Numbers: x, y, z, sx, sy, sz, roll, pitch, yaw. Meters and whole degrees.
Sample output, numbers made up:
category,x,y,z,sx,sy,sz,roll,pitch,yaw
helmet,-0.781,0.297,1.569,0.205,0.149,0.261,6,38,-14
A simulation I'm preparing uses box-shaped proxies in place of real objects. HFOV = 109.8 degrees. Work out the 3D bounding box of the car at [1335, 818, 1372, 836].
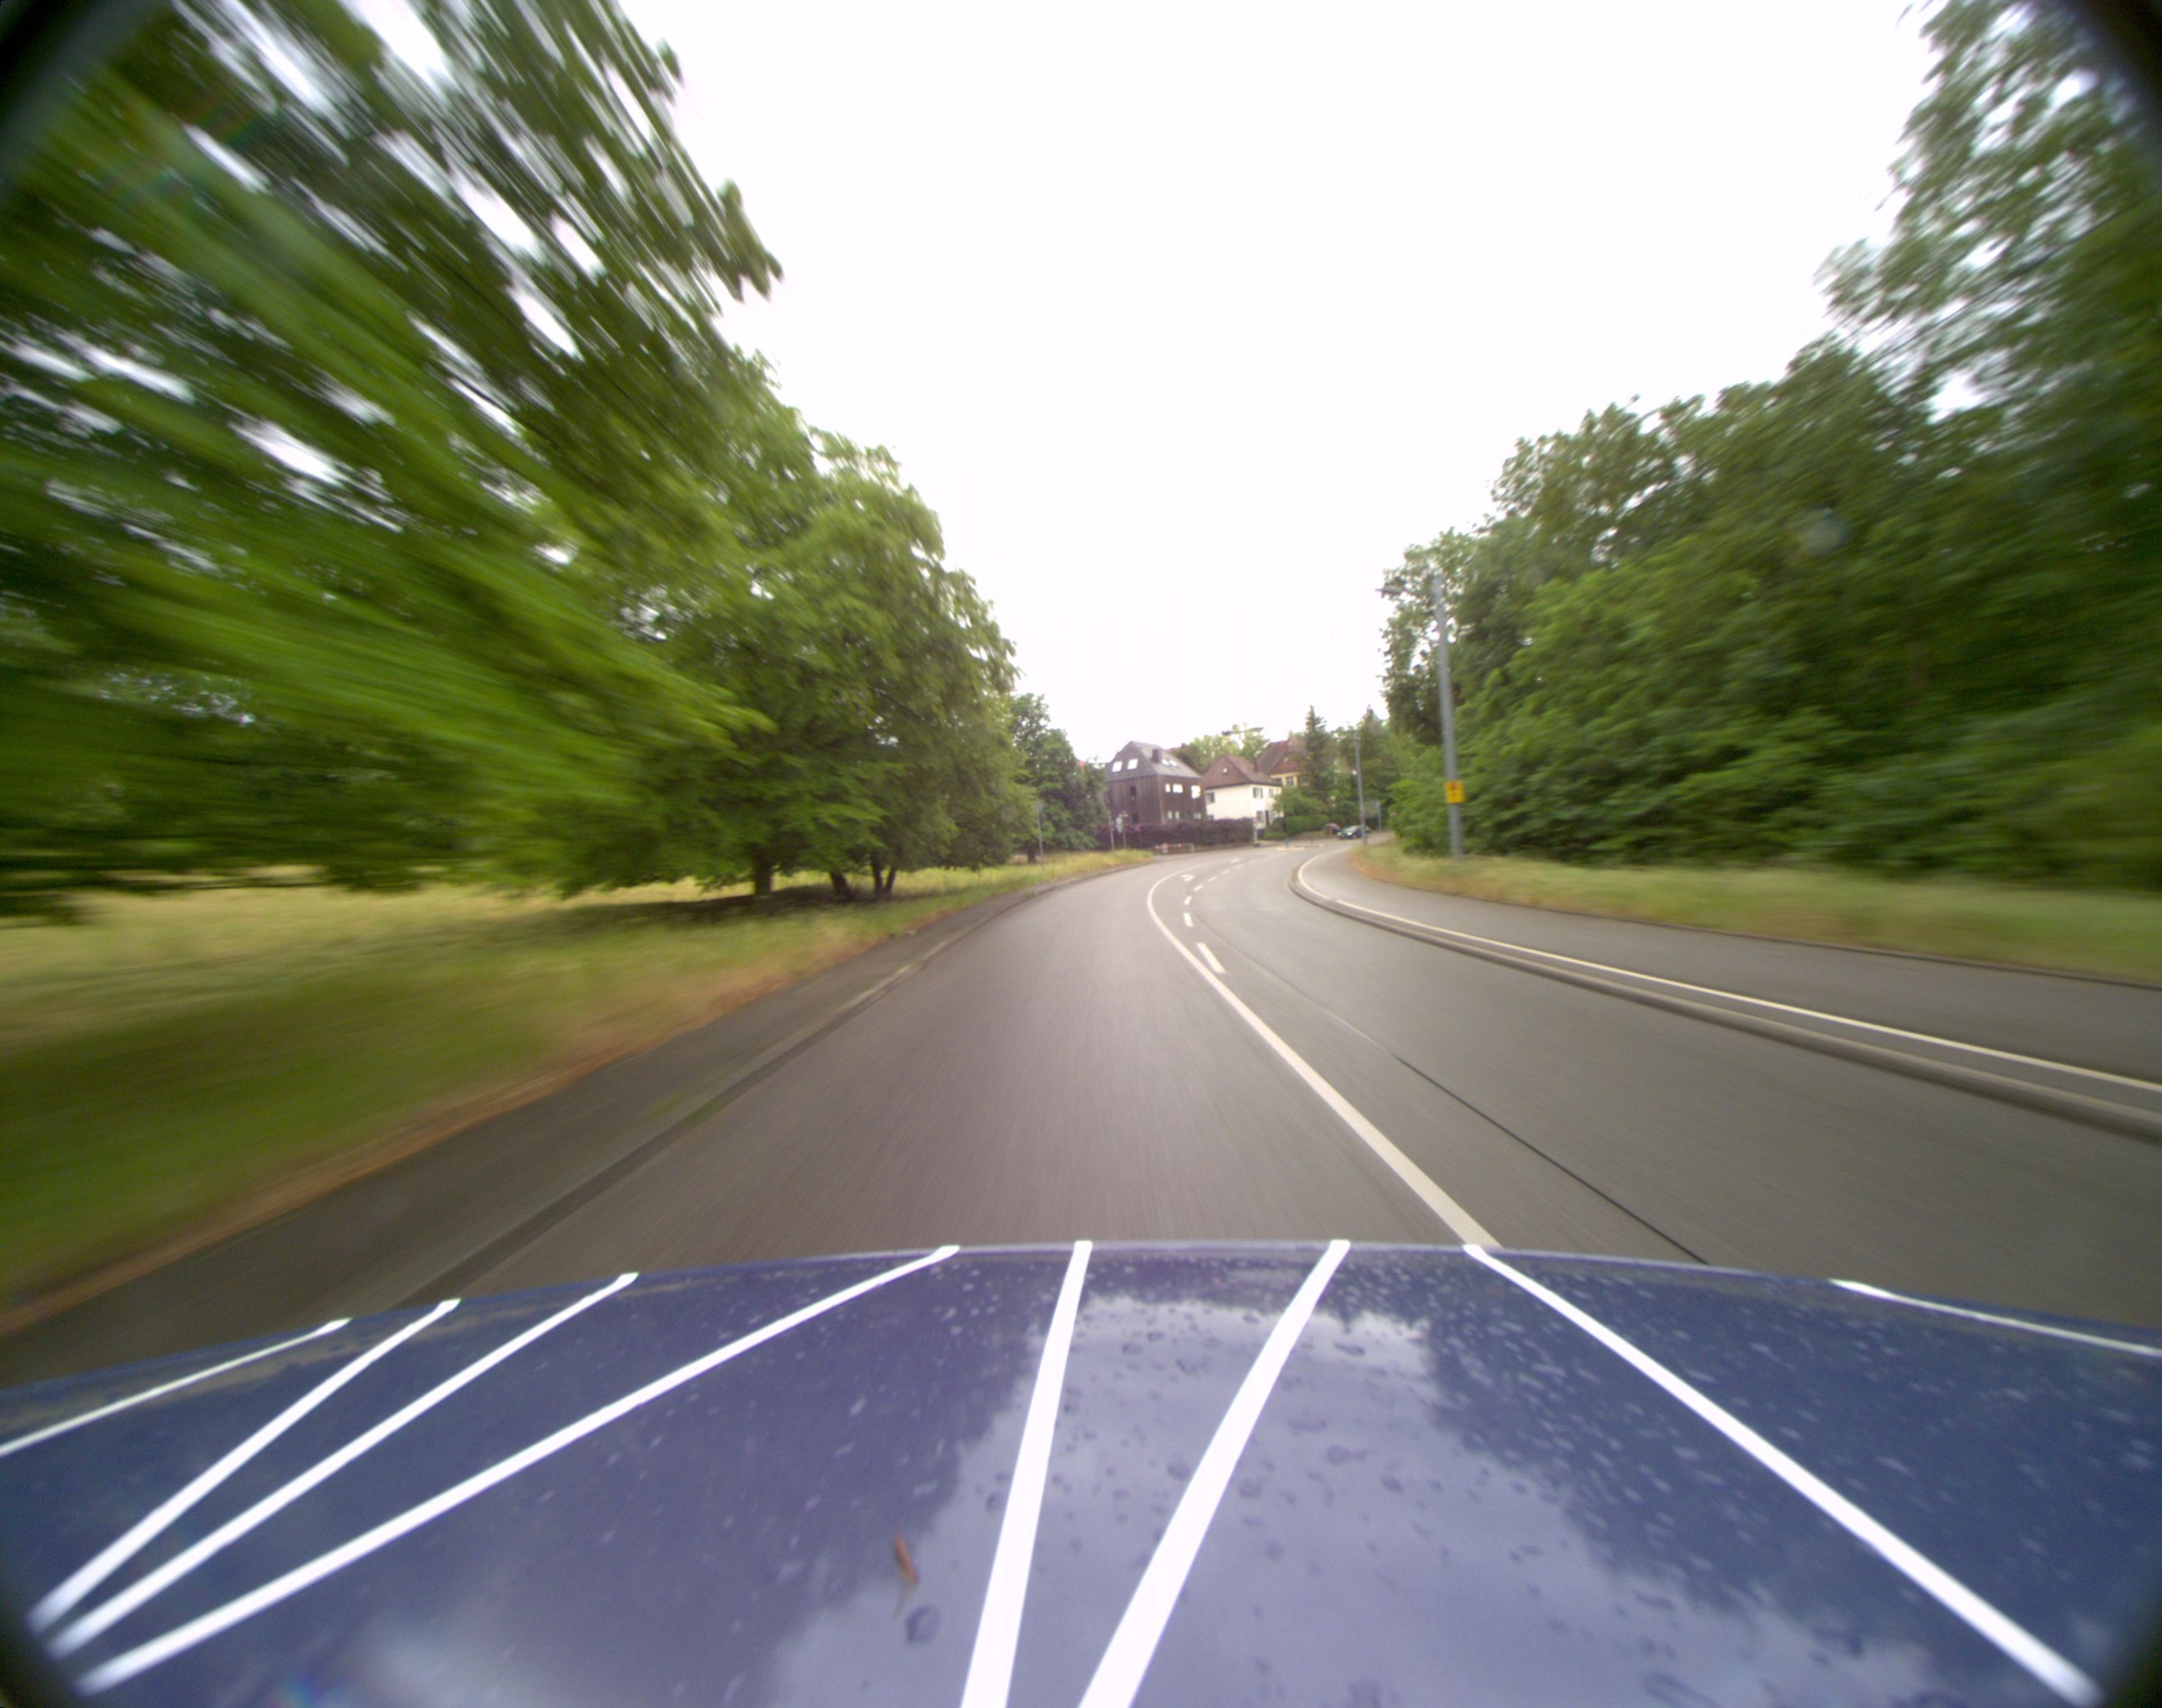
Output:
category,x,y,z,sx,sy,sz,roll,pitch,yaw
car,30.435,-3.060,84.782,4.006,1.707,1.995,-6,2,-39

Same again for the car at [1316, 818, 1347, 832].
category,x,y,z,sx,sy,sz,roll,pitch,yaw
car,32.063,-3.703,97.330,3.480,1.404,1.430,-6,0,45
